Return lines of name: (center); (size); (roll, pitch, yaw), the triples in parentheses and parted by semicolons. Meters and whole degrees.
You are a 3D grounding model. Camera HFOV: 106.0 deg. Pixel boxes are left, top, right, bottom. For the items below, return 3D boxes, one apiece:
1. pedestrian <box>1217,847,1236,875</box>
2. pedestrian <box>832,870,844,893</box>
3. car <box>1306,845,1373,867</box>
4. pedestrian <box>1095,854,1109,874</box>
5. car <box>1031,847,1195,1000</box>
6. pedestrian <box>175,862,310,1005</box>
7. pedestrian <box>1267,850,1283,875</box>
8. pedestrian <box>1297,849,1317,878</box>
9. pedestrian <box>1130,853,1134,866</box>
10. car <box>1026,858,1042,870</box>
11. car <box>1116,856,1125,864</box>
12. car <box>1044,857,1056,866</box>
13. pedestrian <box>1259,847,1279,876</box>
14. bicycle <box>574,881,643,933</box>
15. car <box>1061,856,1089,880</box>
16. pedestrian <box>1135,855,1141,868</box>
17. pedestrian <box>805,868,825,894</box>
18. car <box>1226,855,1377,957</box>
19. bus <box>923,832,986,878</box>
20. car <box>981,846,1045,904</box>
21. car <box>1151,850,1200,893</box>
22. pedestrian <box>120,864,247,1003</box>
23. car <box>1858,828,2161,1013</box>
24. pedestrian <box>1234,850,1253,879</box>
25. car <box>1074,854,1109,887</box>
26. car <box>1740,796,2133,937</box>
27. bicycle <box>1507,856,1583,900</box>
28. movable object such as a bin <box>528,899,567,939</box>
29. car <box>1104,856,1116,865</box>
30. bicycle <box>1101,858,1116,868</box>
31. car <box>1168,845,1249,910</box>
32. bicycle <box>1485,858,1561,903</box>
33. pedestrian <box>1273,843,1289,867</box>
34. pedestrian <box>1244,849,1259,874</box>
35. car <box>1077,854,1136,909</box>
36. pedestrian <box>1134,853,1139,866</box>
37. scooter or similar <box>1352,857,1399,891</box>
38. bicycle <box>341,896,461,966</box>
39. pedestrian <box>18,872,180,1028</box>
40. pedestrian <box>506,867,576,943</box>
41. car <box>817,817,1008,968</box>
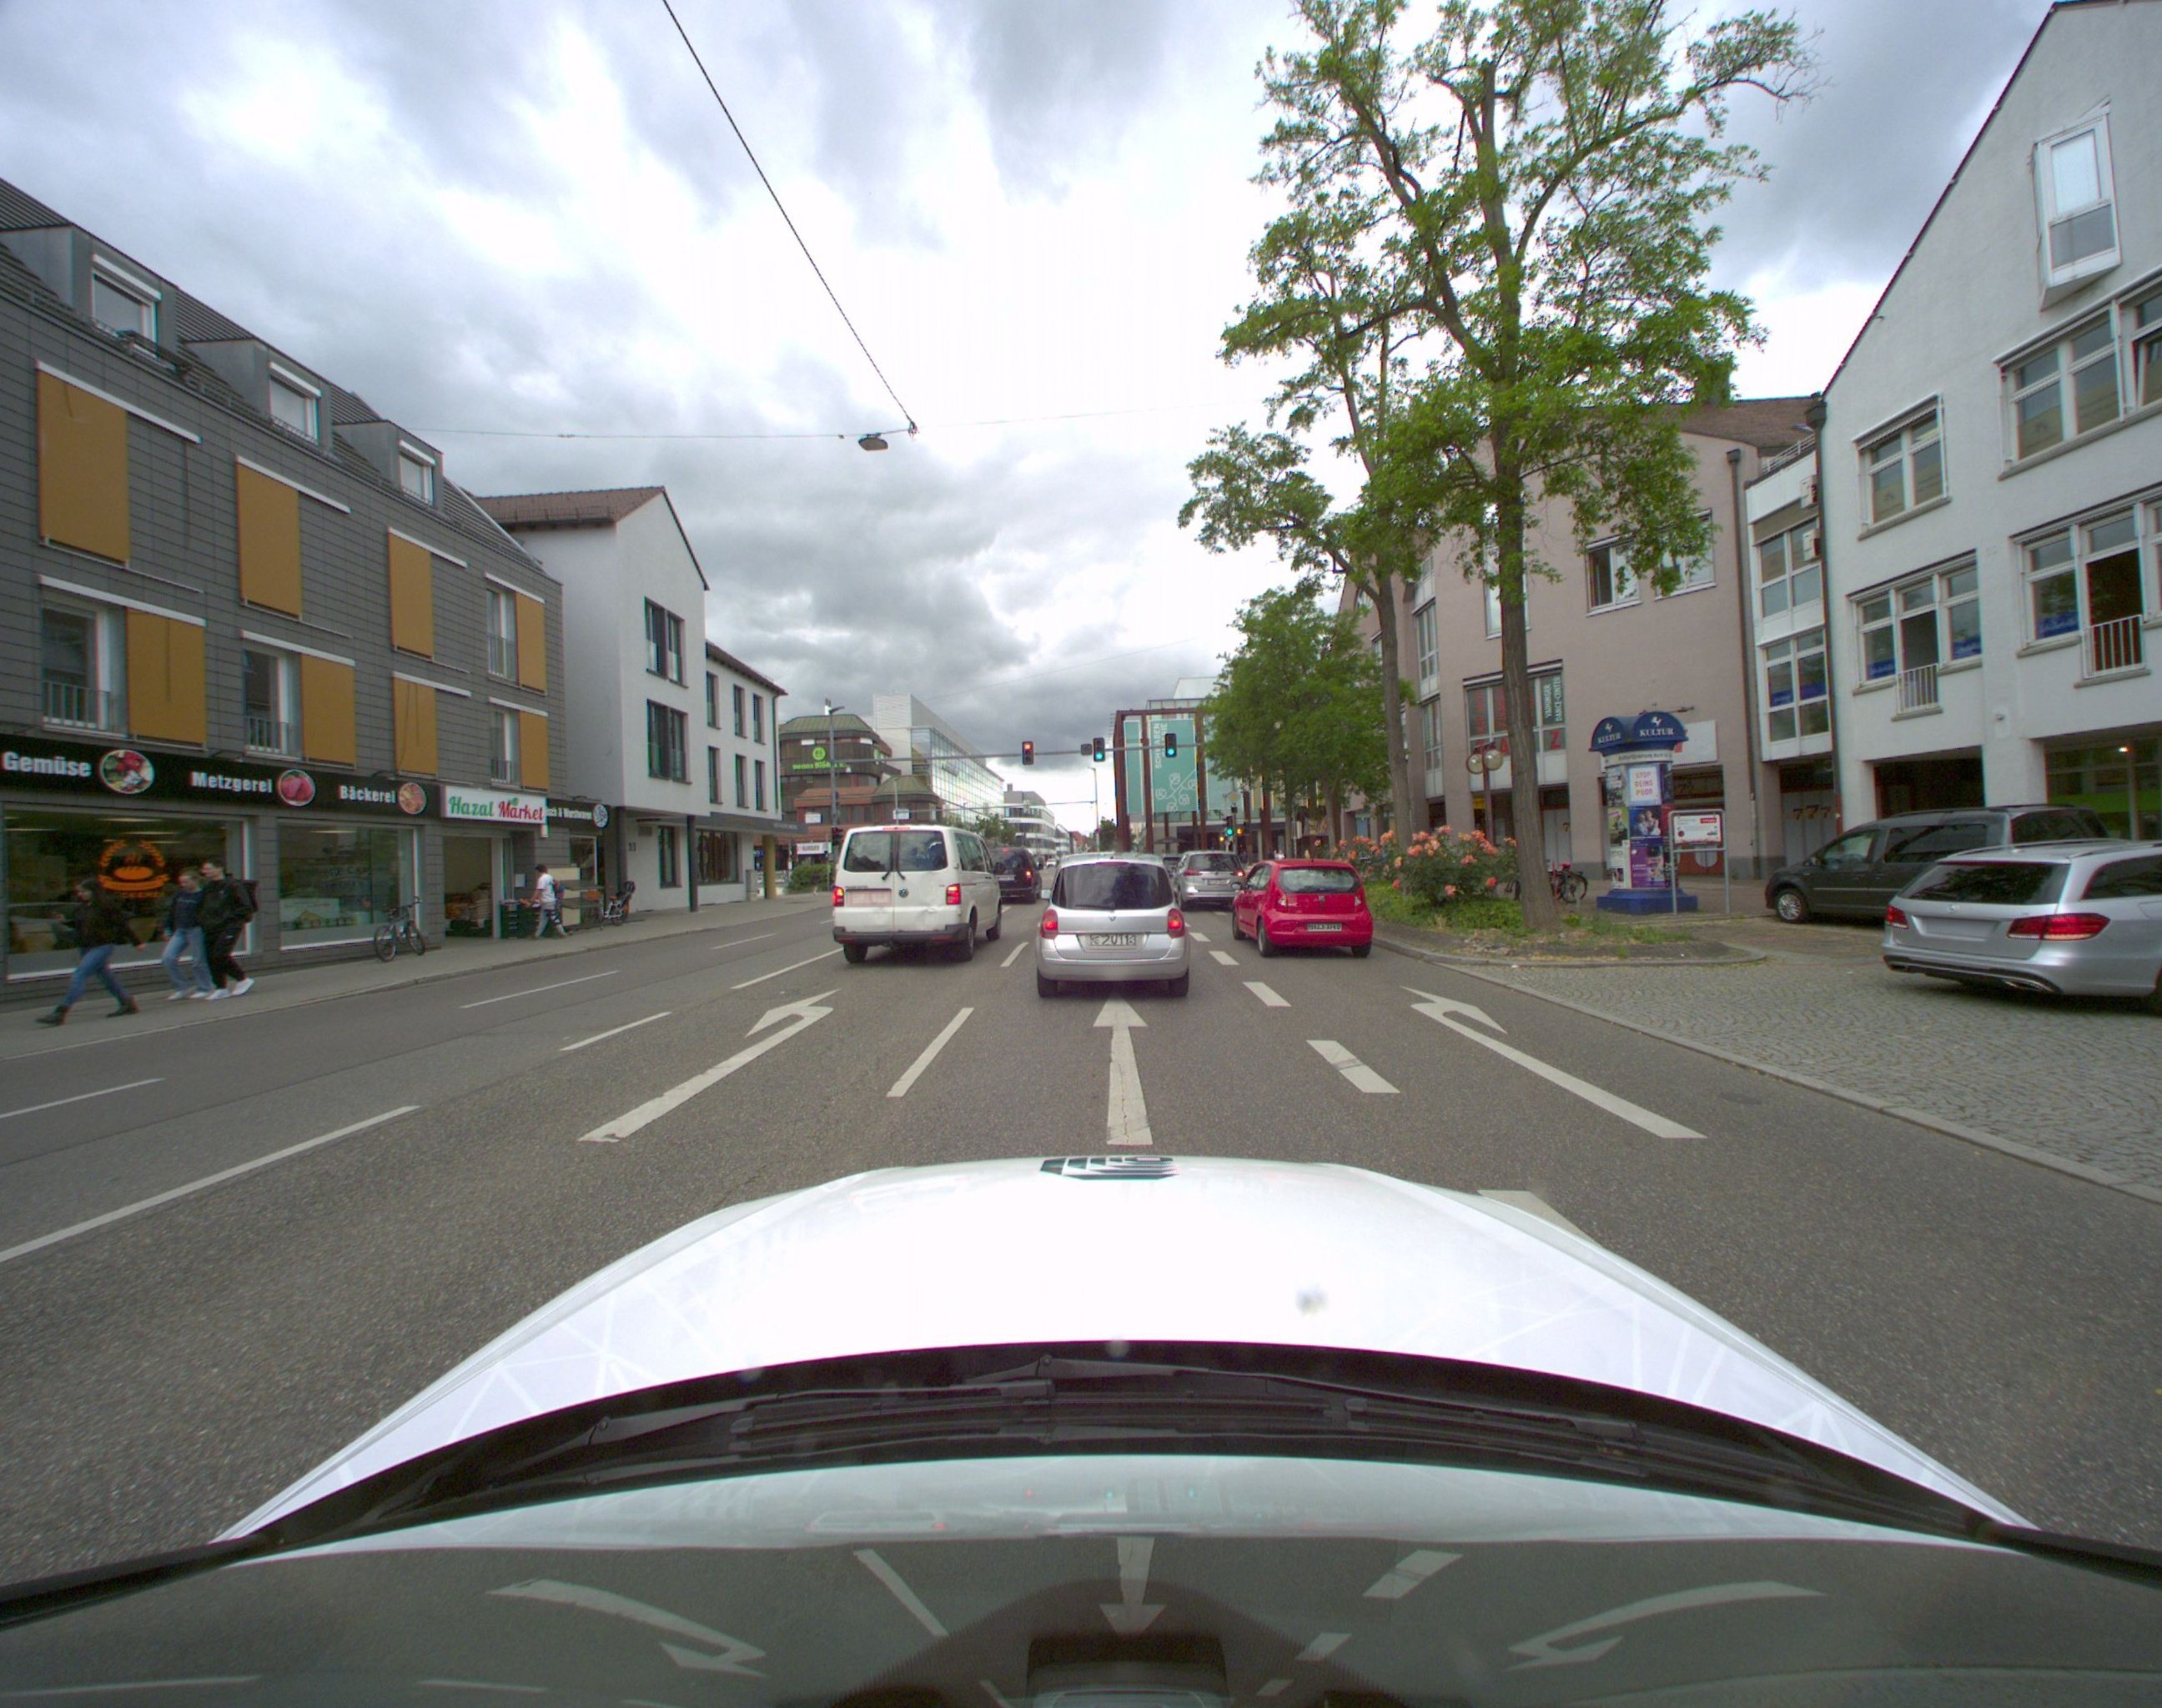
pedestrian: (8.910, 0.411, 49.801); (0.876, 1.681, 1.120); (-2, 0, -1)
pedestrian: (-17.305, 1.963, 58.008); (0.636, 1.588, 0.526); (-2, 0, 3)
car: (18.087, 0.139, 57.066); (4.161, 1.404, 1.800); (-1, 0, -1)
pedestrian: (1.738, 0.818, 66.460); (0.861, 1.646, 0.685); (-2, 0, 36)
car: (0.383, 0.715, 10.111); (1.663, 1.554, 3.643); (0, 0, 2)
pedestrian: (-11.401, 1.041, 11.110); (0.704, 1.839, 1.029); (-2, 0, 3)
pedestrian: (12.810, 0.576, 53.702); (0.739, 1.626, 0.953); (-3, 0, -2)
pedestrian: (14.301, 0.578, 51.538); (0.876, 1.767, 1.120); (-2, 0, -1)
pedestrian: (6.325, 0.673, 100.445); (0.425, 1.549, 0.481); (-2, 0, 0)
car: (-6.364, 1.275, 109.948); (1.738, 1.459, 4.236); (-3, 0, 1)
car: (7.779, 1.213, 160.282); (1.870, 1.564, 4.002); (0, 0, 2)
car: (-5.485, 1.353, 144.063); (1.654, 1.465, 4.002); (-3, 0, 2)
pedestrian: (11.609, 0.467, 50.286); (0.876, 1.767, 1.120); (-2, 0, -1)
bicycle: (-12.661, 1.392, 21.909); (0.580, 1.232, 2.119); (-2, 0, 0)
car: (-0.361, 0.864, 53.174); (1.663, 1.495, 3.643); (0, 0, 2)
pedestrian: (5.196, 0.682, 74.403); (0.445, 1.220, 0.607); (-2, 0, 4)
pedestrian: (-17.993, 1.820, 55.138); (0.944, 1.755, 0.945); (-2, 0, 3)
car: (3.476, 0.748, 13.472); (1.620, 1.448, 3.643); (0, 0, 2)
bus: (-10.517, 0.105, 69.245); (2.977, 3.327, 12.307); (-5, 0, 1)
car: (-2.252, 0.660, 28.077); (1.701, 1.820, 4.573); (0, 0, 2)
car: (3.971, 0.716, 34.832); (1.733, 1.701, 4.382); (0, 0, 2)
pedestrian: (-12.156, 1.045, 11.057); (0.704, 1.781, 0.870); (-2, 0, 3)
car: (10.540, 0.494, 7.717); (4.622, 1.453, 1.740); (-3, 0, 1)
pedestrian: (9.972, 0.633, 49.961); (0.876, 1.681, 1.120); (-2, 0, -1)
car: (0.548, 0.774, 39.687); (1.663, 1.495, 3.643); (0, 0, 2)
car: (13.197, 0.168, 13.052); (1.729, 1.804, 4.259); (-3, 0, -1)
bicycle: (11.409, 0.599, 20.052); (1.549, 1.048, 0.409); (-3, -1, 43)
movable object such as a bin: (-12.635, 1.537, 19.300); (0.549, 0.899, 0.507); (-2, 0, 0)
car: (4.709, 1.022, 132.200); (1.870, 1.335, 4.002); (0, 0, 2)
bicycle: (3.007, 0.994, 88.082); (1.553, 0.992, 0.753); (-2, 0, 4)
car: (3.591, 0.622, 23.664); (1.733, 1.701, 4.381); (0, 0, 1)
bicycle: (10.755, 0.651, 19.846); (1.549, 1.048, 0.409); (-3, -1, 43)
pedestrian: (14.000, 0.076, 57.048); (0.819, 1.595, 1.039); (-2, 0, 0)
pedestrian: (11.444, 0.526, 54.789); (0.739, 1.626, 0.953); (-3, 0, -2)
car: (0.785, 0.773, 24.785); (1.663, 1.554, 3.643); (0, 0, 2)
pedestrian: (6.842, 0.671, 100.475); (0.425, 1.549, 0.481); (-2, 0, 0)
scooter or similar: (9.963, 0.680, 27.607); (0.471, 1.087, 1.878); (-2, -1, -15)
bicycle: (-12.630, 1.398, 15.209); (0.569, 1.101, 1.903); (-2, 0, 2)
pedestrian: (-11.447, 1.085, 9.526); (0.800, 1.698, 0.870); (-2, 0, 3)
pedestrian: (-12.317, 1.141, 18.617); (0.884, 1.643, 0.972); (-2, 0, 1)
car: (-2.495, 0.526, 13.424); (1.986, 2.013, 4.842); (-1, 0, 2)
